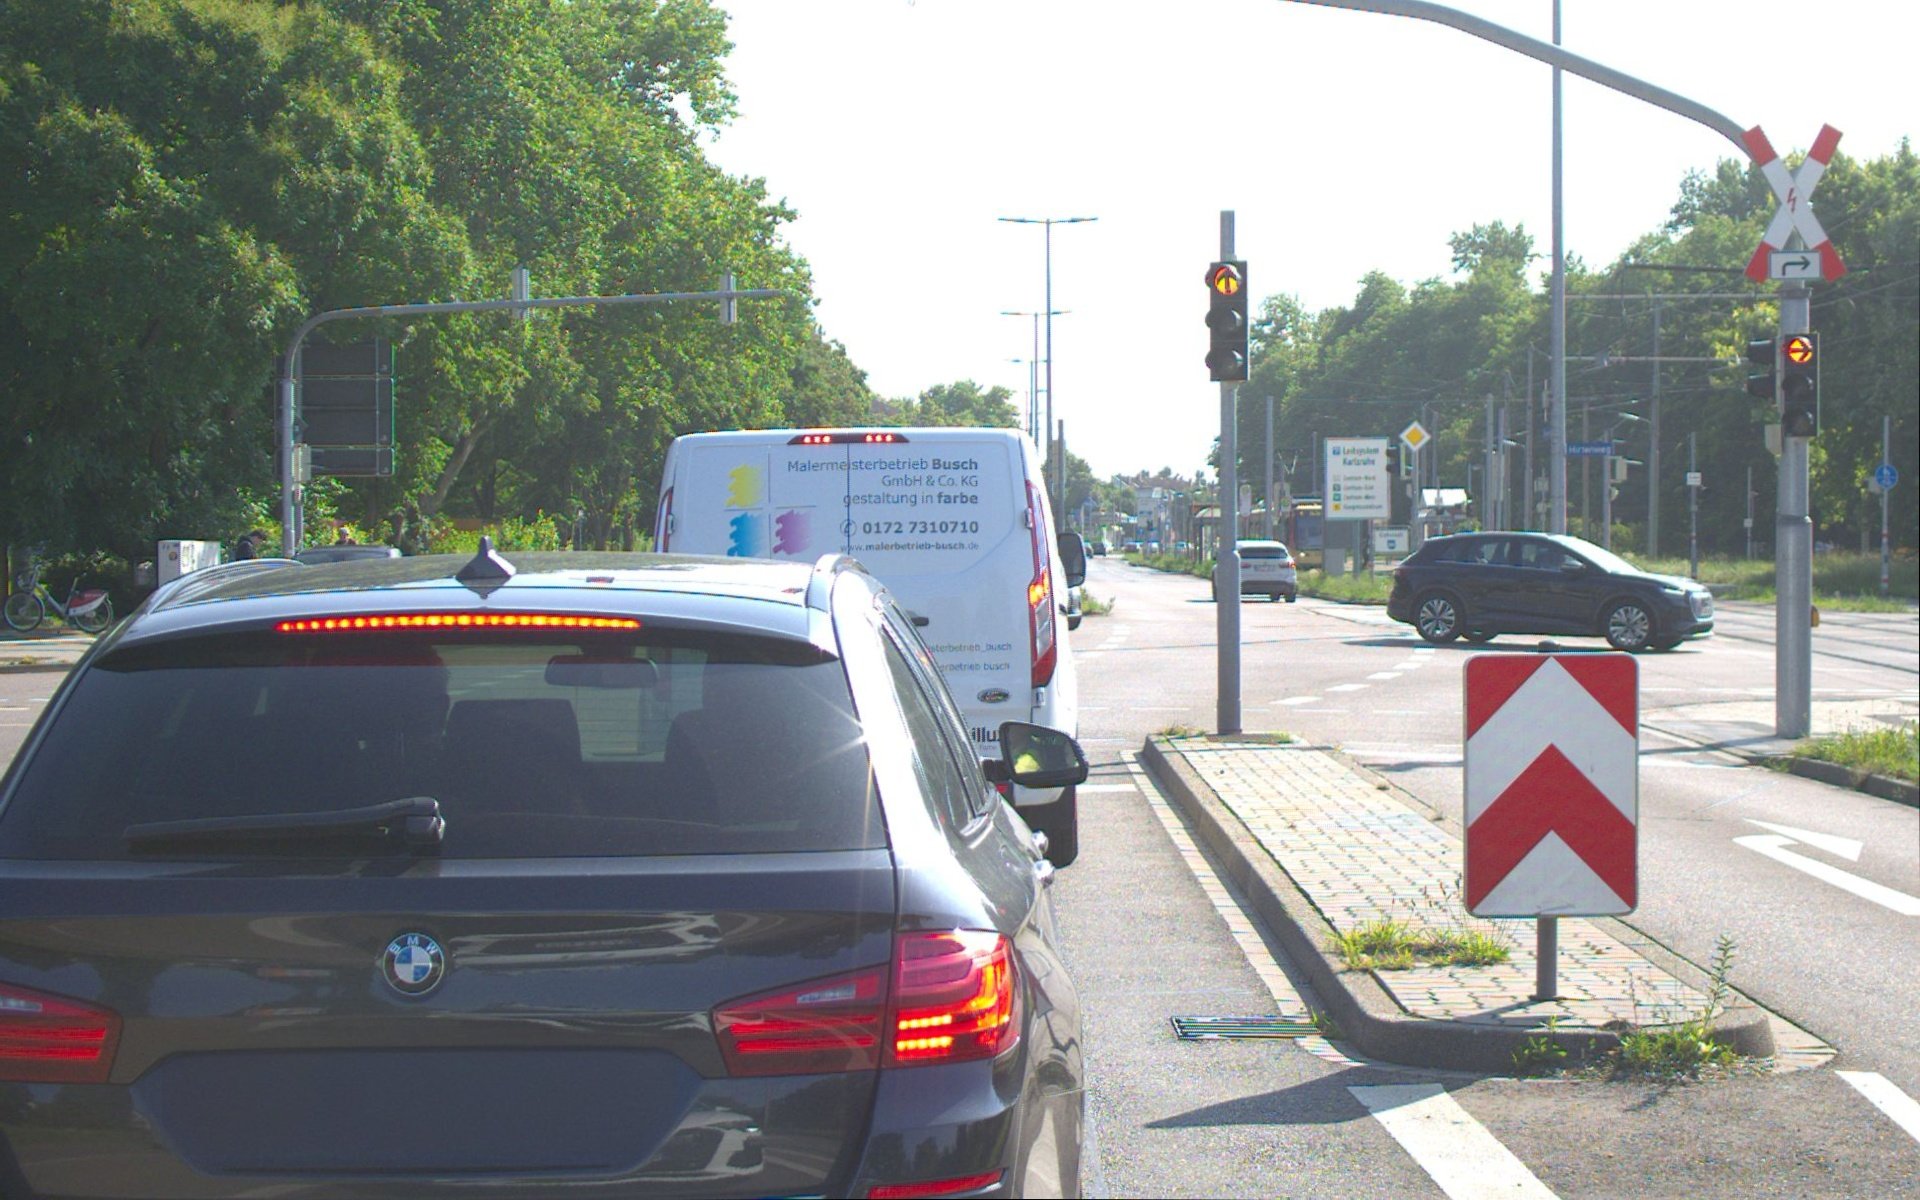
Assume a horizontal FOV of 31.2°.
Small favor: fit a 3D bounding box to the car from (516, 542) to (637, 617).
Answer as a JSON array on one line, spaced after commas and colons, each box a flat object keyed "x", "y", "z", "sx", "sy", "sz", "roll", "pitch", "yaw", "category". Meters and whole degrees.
[{"x": -7.503, "y": -0.427, "z": 67.559, "sx": 1.779, "sy": 1.410, "sz": 4.245, "roll": 0, "pitch": 1, "yaw": 2, "category": "car"}]

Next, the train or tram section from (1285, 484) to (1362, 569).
[{"x": 16.261, "y": -3.228, "z": 154.652, "sx": 2.796, "sy": 3.606, "sz": 12.954, "roll": 1, "pitch": 1, "yaw": 3, "category": "train or tram section"}]

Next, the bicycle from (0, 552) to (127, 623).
[{"x": -14.272, "y": -0.196, "z": 54.649, "sx": 1.909, "sy": 1.115, "sz": 0.632, "roll": 0, "pitch": 1, "yaw": 0, "category": "bicycle"}]

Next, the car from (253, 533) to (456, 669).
[{"x": -7.469, "y": -0.020, "z": 42.676, "sx": 1.633, "sy": 1.555, "sz": 3.676, "roll": -2, "pitch": 1, "yaw": 3, "category": "car"}]

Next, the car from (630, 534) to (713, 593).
[{"x": -7.583, "y": -0.970, "z": 90.643, "sx": 1.702, "sy": 1.460, "sz": 4.369, "roll": -2, "pitch": 1, "yaw": 1, "category": "car"}]

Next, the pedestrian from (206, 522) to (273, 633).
[{"x": -11.458, "y": -0.369, "z": 54.710, "sx": 0.816, "sy": 1.746, "sz": 0.931, "roll": 0, "pitch": 1, "yaw": 5, "category": "pedestrian"}]

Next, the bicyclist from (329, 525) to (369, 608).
[{"x": -11.427, "y": -0.626, "z": 64.307, "sx": 0.607, "sy": 1.555, "sz": 0.603, "roll": 0, "pitch": 1, "yaw": 2, "category": "bicyclist"}]

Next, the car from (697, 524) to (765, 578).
[{"x": -6.920, "y": -1.501, "z": 104.293, "sx": 1.745, "sy": 1.556, "sz": 4.000, "roll": -2, "pitch": 1, "yaw": 0, "category": "car"}]

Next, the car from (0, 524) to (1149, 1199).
[{"x": -0.726, "y": 0.614, "z": 6.443, "sx": 1.903, "sy": 1.500, "sz": 4.065, "roll": 0, "pitch": 1, "yaw": 0, "category": "car"}]

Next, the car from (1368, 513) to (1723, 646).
[{"x": 8.220, "y": -0.317, "z": 48.420, "sx": 4.616, "sy": 1.716, "sz": 1.646, "roll": 2, "pitch": 2, "yaw": 32, "category": "car"}]

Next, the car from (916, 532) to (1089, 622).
[{"x": 0.638, "y": -0.396, "z": 54.577, "sx": 1.601, "sy": 1.379, "sz": 3.531, "roll": 0, "pitch": 1, "yaw": -20, "category": "car"}]

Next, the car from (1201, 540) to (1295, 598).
[{"x": 7.565, "y": -0.840, "z": 90.470, "sx": 1.793, "sy": 1.481, "sz": 3.900, "roll": 0, "pitch": 1, "yaw": -5, "category": "car"}]

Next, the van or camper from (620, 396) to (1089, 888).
[{"x": -0.413, "y": 0.134, "z": 16.934, "sx": 1.993, "sy": 2.089, "sz": 4.598, "roll": 0, "pitch": 1, "yaw": 1, "category": "van or camper"}]
